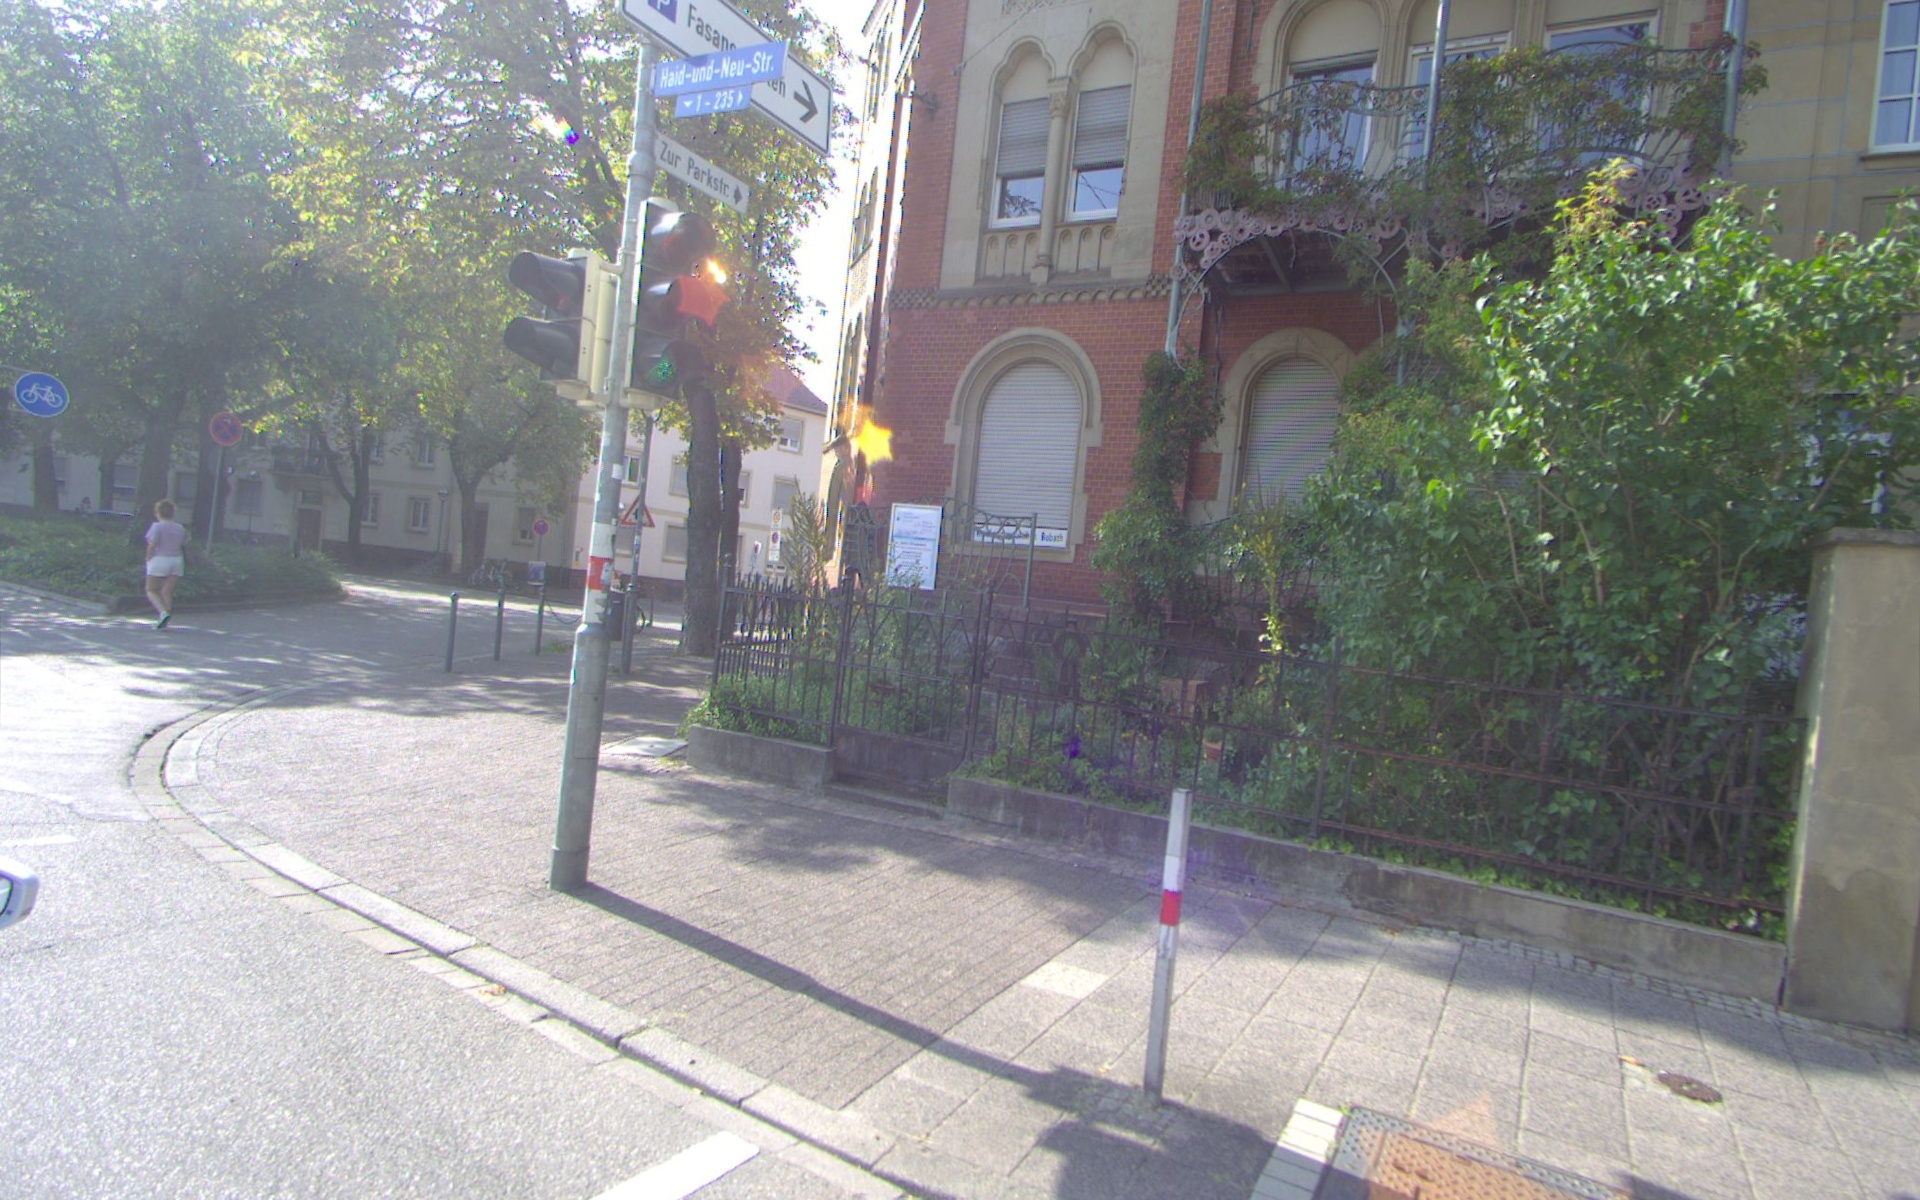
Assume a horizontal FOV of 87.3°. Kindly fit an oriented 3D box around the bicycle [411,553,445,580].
[{"bbox_3d":[-22.974,-1.439,43.436,1.528,0.990,0.425,6,1,26],"label":"bicycle"}]

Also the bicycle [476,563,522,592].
[{"bbox_3d":[-18.075,-0.869,39.468,0.420,0.990,1.547,7,1,43],"label":"bicycle"}]

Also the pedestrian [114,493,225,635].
[{"bbox_3d":[-10.440,-0.460,13.304,0.757,1.753,0.752,6,1,20],"label":"pedestrian"}]

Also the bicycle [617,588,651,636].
[{"bbox_3d":[-7.421,0.259,22.941,0.418,0.990,1.766,6,0,-10],"label":"bicycle"}]

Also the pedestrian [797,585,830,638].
[{"bbox_3d":[-5.072,0.404,34.879,0.761,1.762,0.894,6,1,5],"label":"pedestrian"}]

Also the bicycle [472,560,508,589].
[{"bbox_3d":[-19.122,-1.035,40.979,0.417,1.052,1.556,6,0,10],"label":"bicycle"}]

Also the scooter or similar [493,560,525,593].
[{"bbox_3d":[-17.601,-0.912,39.241,1.060,1.214,0.456,2,4,-30],"label":"scooter or similar"}]

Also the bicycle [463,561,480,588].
[{"bbox_3d":[-19.472,-1.015,40.107,0.420,0.990,1.547,5,1,-23],"label":"bicycle"}]

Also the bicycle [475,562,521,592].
[{"bbox_3d":[-18.255,-0.899,39.755,0.420,0.990,1.547,7,1,43],"label":"bicycle"}]

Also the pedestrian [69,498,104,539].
[{"bbox_3d":[-41.085,-3.825,47.330,0.879,1.762,0.774,6,1,-13],"label":"pedestrian"}]
